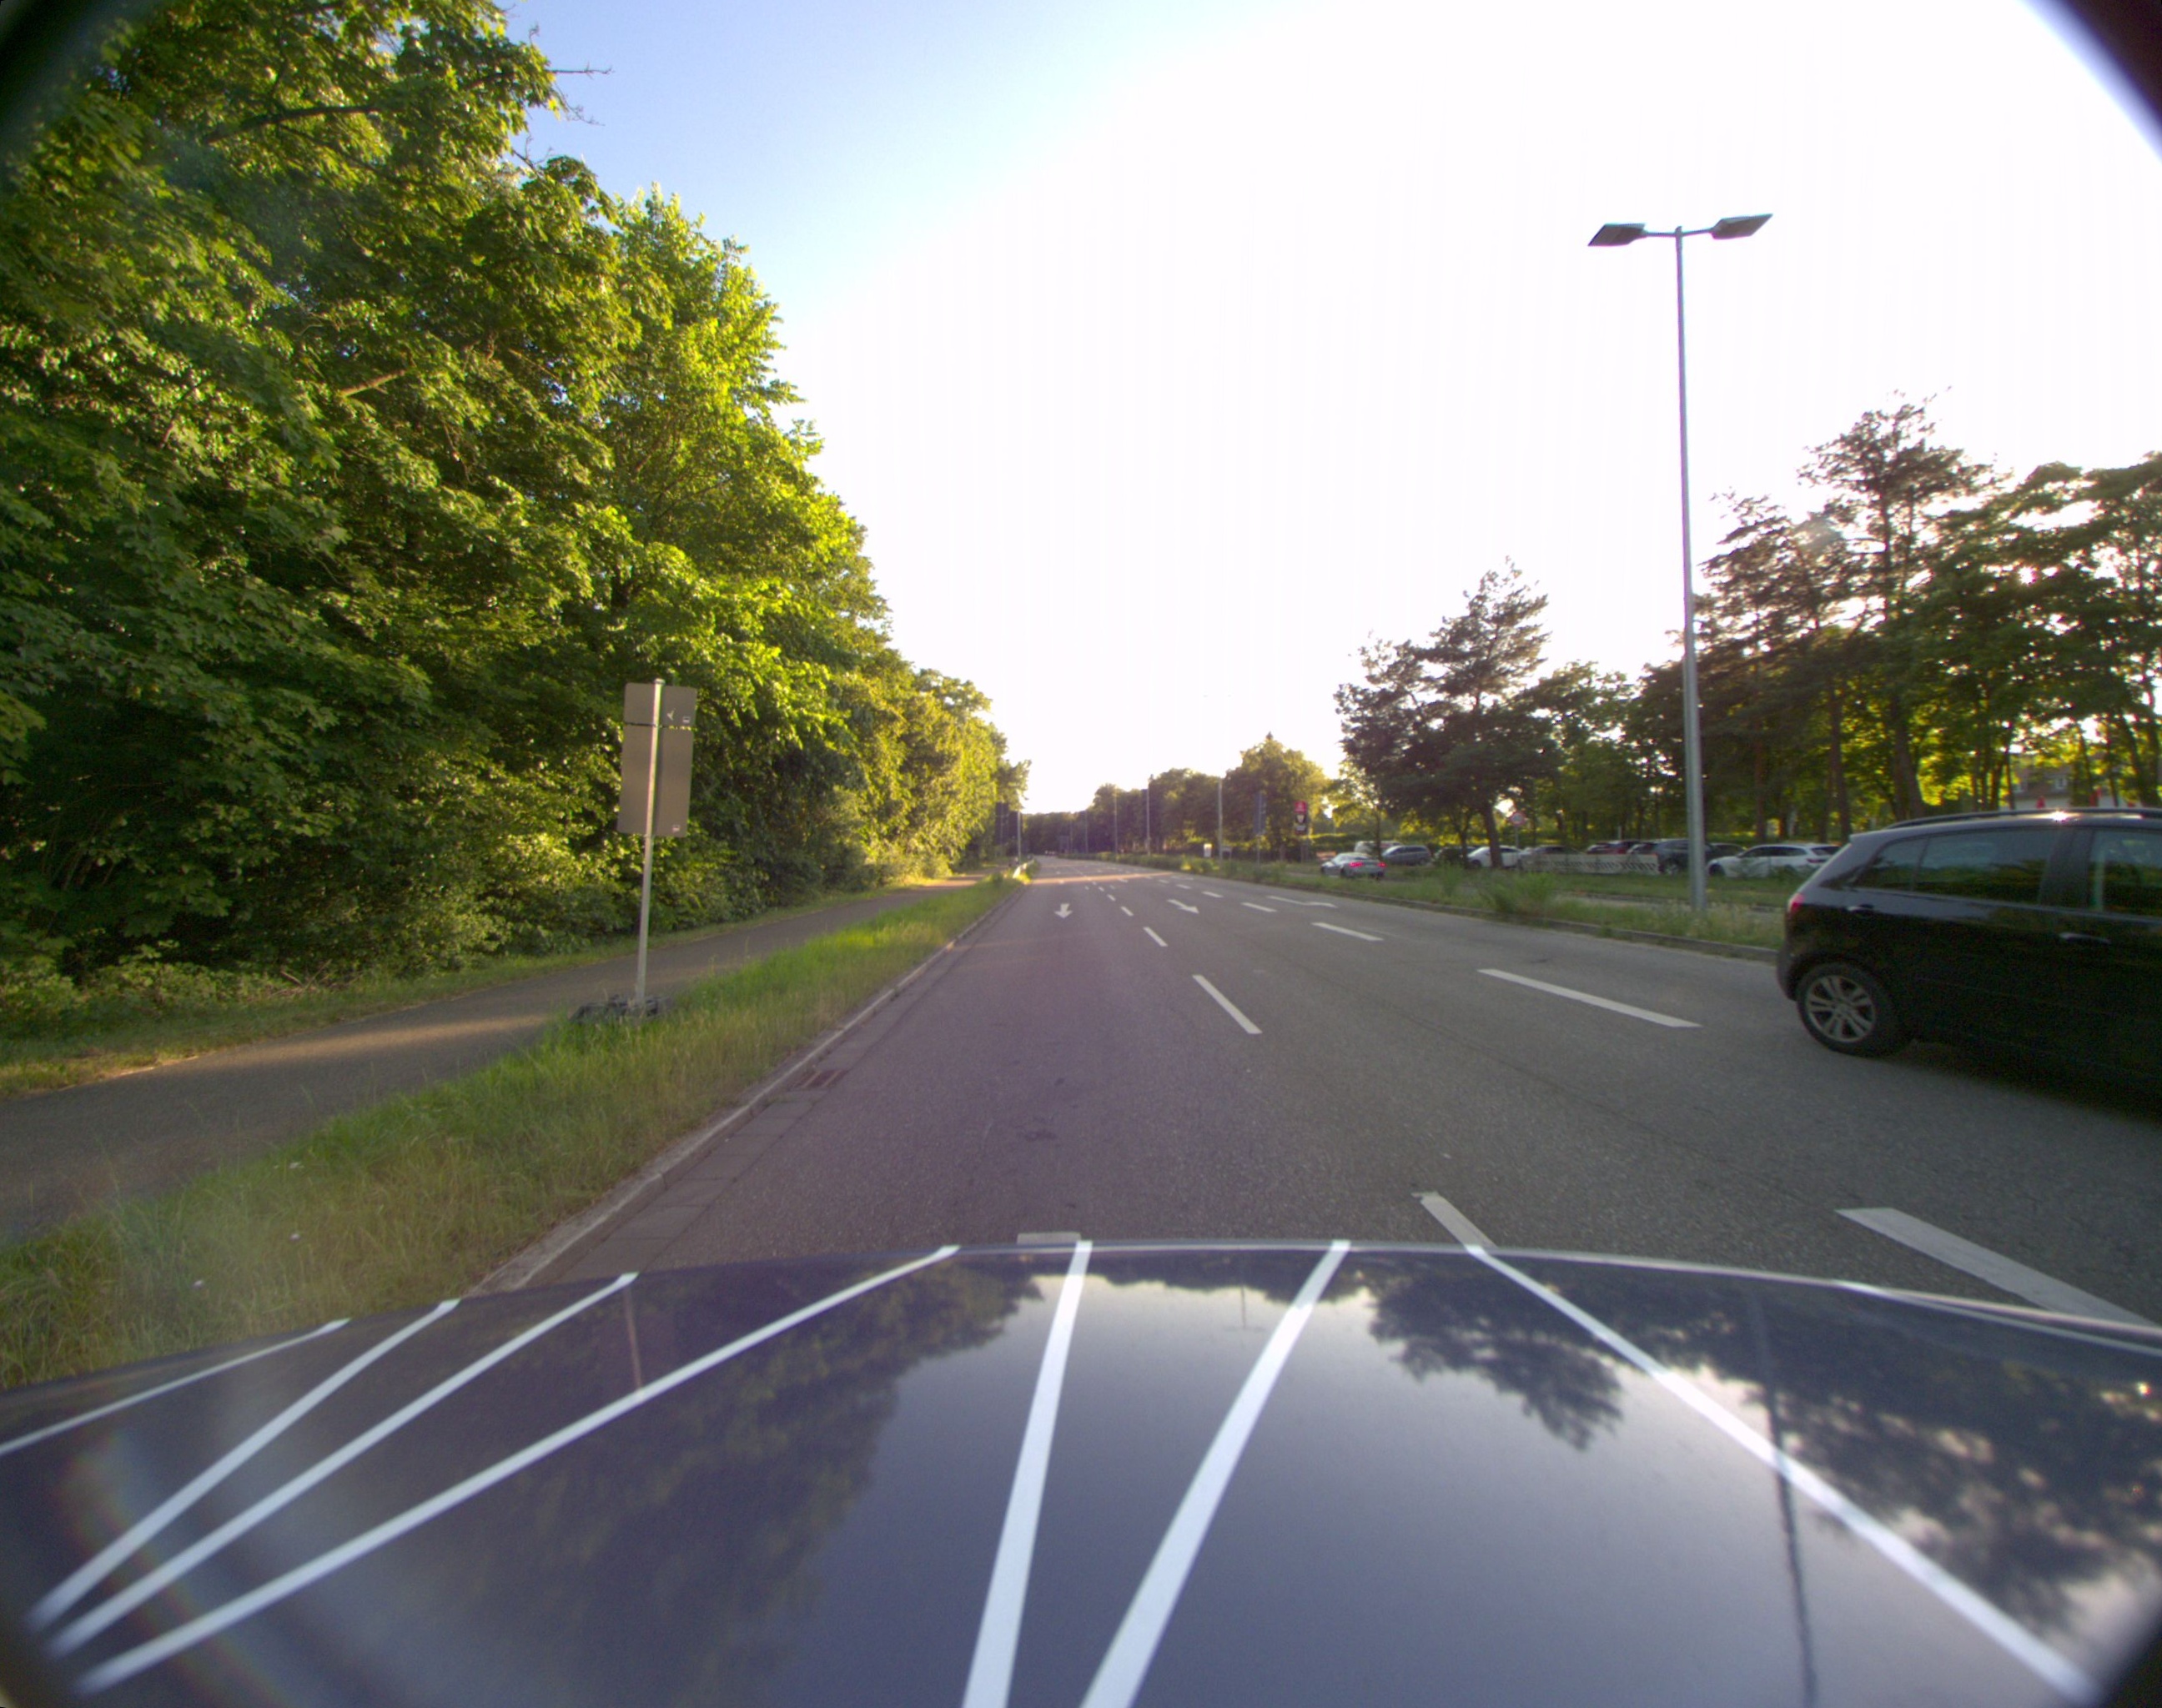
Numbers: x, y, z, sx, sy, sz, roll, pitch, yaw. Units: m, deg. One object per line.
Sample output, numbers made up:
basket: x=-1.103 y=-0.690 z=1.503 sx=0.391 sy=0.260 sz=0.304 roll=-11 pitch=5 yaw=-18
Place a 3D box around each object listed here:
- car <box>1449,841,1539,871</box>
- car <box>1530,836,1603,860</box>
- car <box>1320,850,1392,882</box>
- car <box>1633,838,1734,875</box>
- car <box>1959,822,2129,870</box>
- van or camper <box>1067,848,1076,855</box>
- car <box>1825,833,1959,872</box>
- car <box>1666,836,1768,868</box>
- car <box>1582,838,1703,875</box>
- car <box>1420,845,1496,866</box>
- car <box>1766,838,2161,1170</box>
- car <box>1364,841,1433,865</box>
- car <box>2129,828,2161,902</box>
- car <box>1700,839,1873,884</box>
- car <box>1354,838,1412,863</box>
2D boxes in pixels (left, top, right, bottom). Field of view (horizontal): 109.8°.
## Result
car: x=25.167 y=0.132 z=46.398 sx=4.497 sy=1.743 sz=1.909 roll=-1 pitch=1 yaw=-1
car: x=34.119 y=-0.399 z=53.475 sx=3.997 sy=1.641 sz=1.766 roll=-1 pitch=1 yaw=-1
car: x=13.638 y=0.550 z=37.955 sx=1.896 sy=1.433 sz=4.499 roll=-1 pitch=1 yaw=-1
car: x=25.939 y=0.087 z=32.785 sx=3.099 sy=1.518 sz=1.659 roll=-1 pitch=1 yaw=-2
car: x=34.979 y=-0.285 z=27.683 sx=3.997 sy=1.641 sz=1.766 roll=-1 pitch=1 yaw=-1
van or camper: x=-2.946 y=-0.830 z=241.182 sx=2.001 sy=2.002 sz=4.573 roll=-1 pitch=0 yaw=-12
car: x=35.418 y=-0.071 z=33.239 sx=3.997 sy=1.641 sz=1.766 roll=-1 pitch=1 yaw=-1
car: x=34.078 y=-0.118 z=40.794 sx=3.997 sy=1.641 sz=1.766 roll=-1 pitch=1 yaw=-1
car: x=26.495 y=0.111 z=35.928 sx=4.525 sy=1.608 sz=1.771 roll=-1 pitch=1 yaw=-3
car: x=24.084 y=0.076 z=48.639 sx=3.997 sy=1.304 sz=1.732 roll=-1 pitch=1 yaw=-1
car: x=6.036 y=0.688 z=3.549 sx=1.999 sy=1.543 sz=3.999 roll=-1 pitch=0 yaw=-2
car: x=24.198 y=-0.096 z=58.024 sx=4.498 sy=1.787 sz=1.909 roll=-1 pitch=1 yaw=-2
car: x=27.105 y=0.260 z=16.412 sx=1.999 sy=1.776 sz=4.920 roll=-1 pitch=1 yaw=-4
car: x=26.418 y=0.259 z=28.728 sx=1.999 sy=1.539 sz=4.708 roll=-1 pitch=0 yaw=-4
car: x=24.222 y=-0.249 z=61.062 sx=3.998 sy=1.933 sz=1.766 roll=-1 pitch=1 yaw=-2
